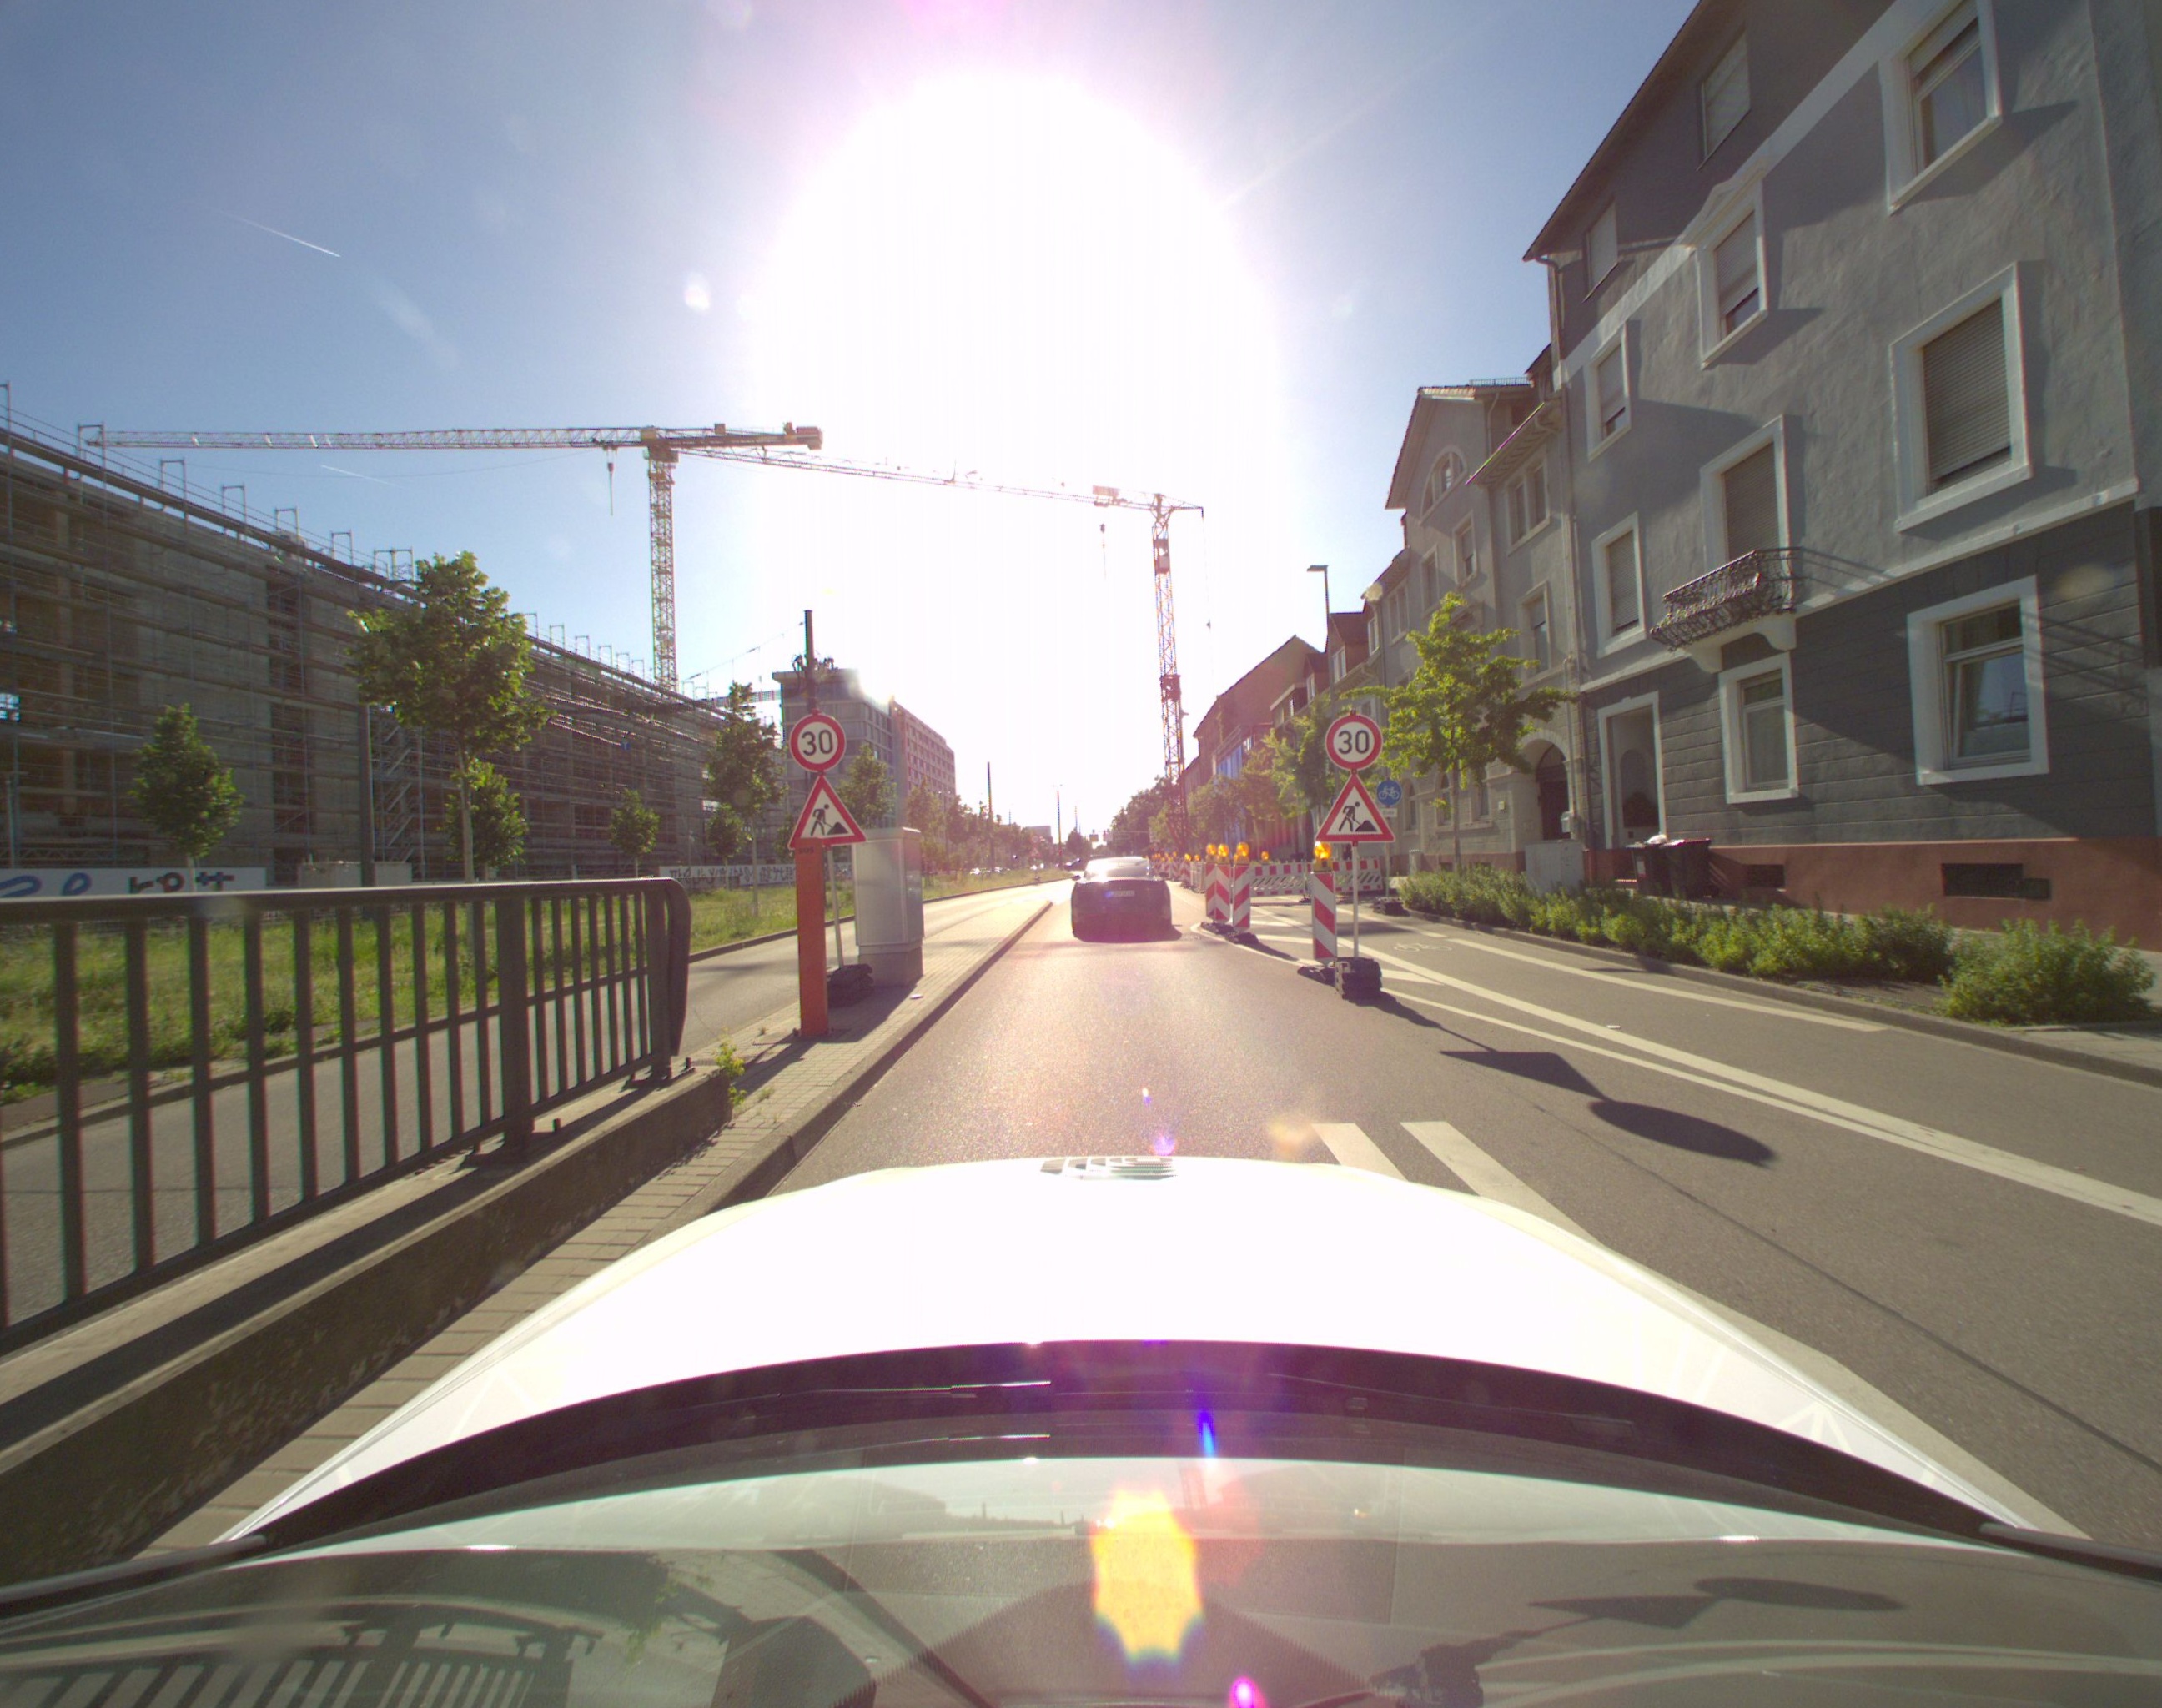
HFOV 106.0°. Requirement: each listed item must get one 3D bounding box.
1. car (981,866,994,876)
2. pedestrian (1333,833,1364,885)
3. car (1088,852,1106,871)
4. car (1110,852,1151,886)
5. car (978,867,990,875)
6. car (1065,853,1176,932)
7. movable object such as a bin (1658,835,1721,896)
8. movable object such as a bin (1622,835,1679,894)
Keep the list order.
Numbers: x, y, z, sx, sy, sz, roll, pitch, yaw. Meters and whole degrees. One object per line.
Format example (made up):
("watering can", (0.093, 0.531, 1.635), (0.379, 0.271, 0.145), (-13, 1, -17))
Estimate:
("car", (-17.888, 3.250, 155.865), (1.783, 1.651, 4.002), (-3, -1, 2))
("pedestrian", (10.267, 0.199, 31.232), (0.794, 1.928, 0.767), (-2, -1, -13))
("car", (2.022, 0.966, 103.151), (2.210, 2.267, 4.484), (-1, 0, 1))
("car", (2.285, 0.693, 38.533), (1.741, 1.427, 4.839), (-2, -1, 2))
("car", (-19.956, 3.512, 167.597), (1.783, 1.651, 4.002), (-3, -1, 2))
("car", (0.804, 0.744, 17.515), (2.044, 1.444, 4.525), (-1, -1, 1))
("movable object such as a bin", (11.167, 0.211, 14.968), (0.600, 1.082, 0.704), (-2, 0, 2))
("movable object such as a bin", (11.036, 0.202, 15.789), (0.586, 1.108, 0.704), (-2, 0, 2))
